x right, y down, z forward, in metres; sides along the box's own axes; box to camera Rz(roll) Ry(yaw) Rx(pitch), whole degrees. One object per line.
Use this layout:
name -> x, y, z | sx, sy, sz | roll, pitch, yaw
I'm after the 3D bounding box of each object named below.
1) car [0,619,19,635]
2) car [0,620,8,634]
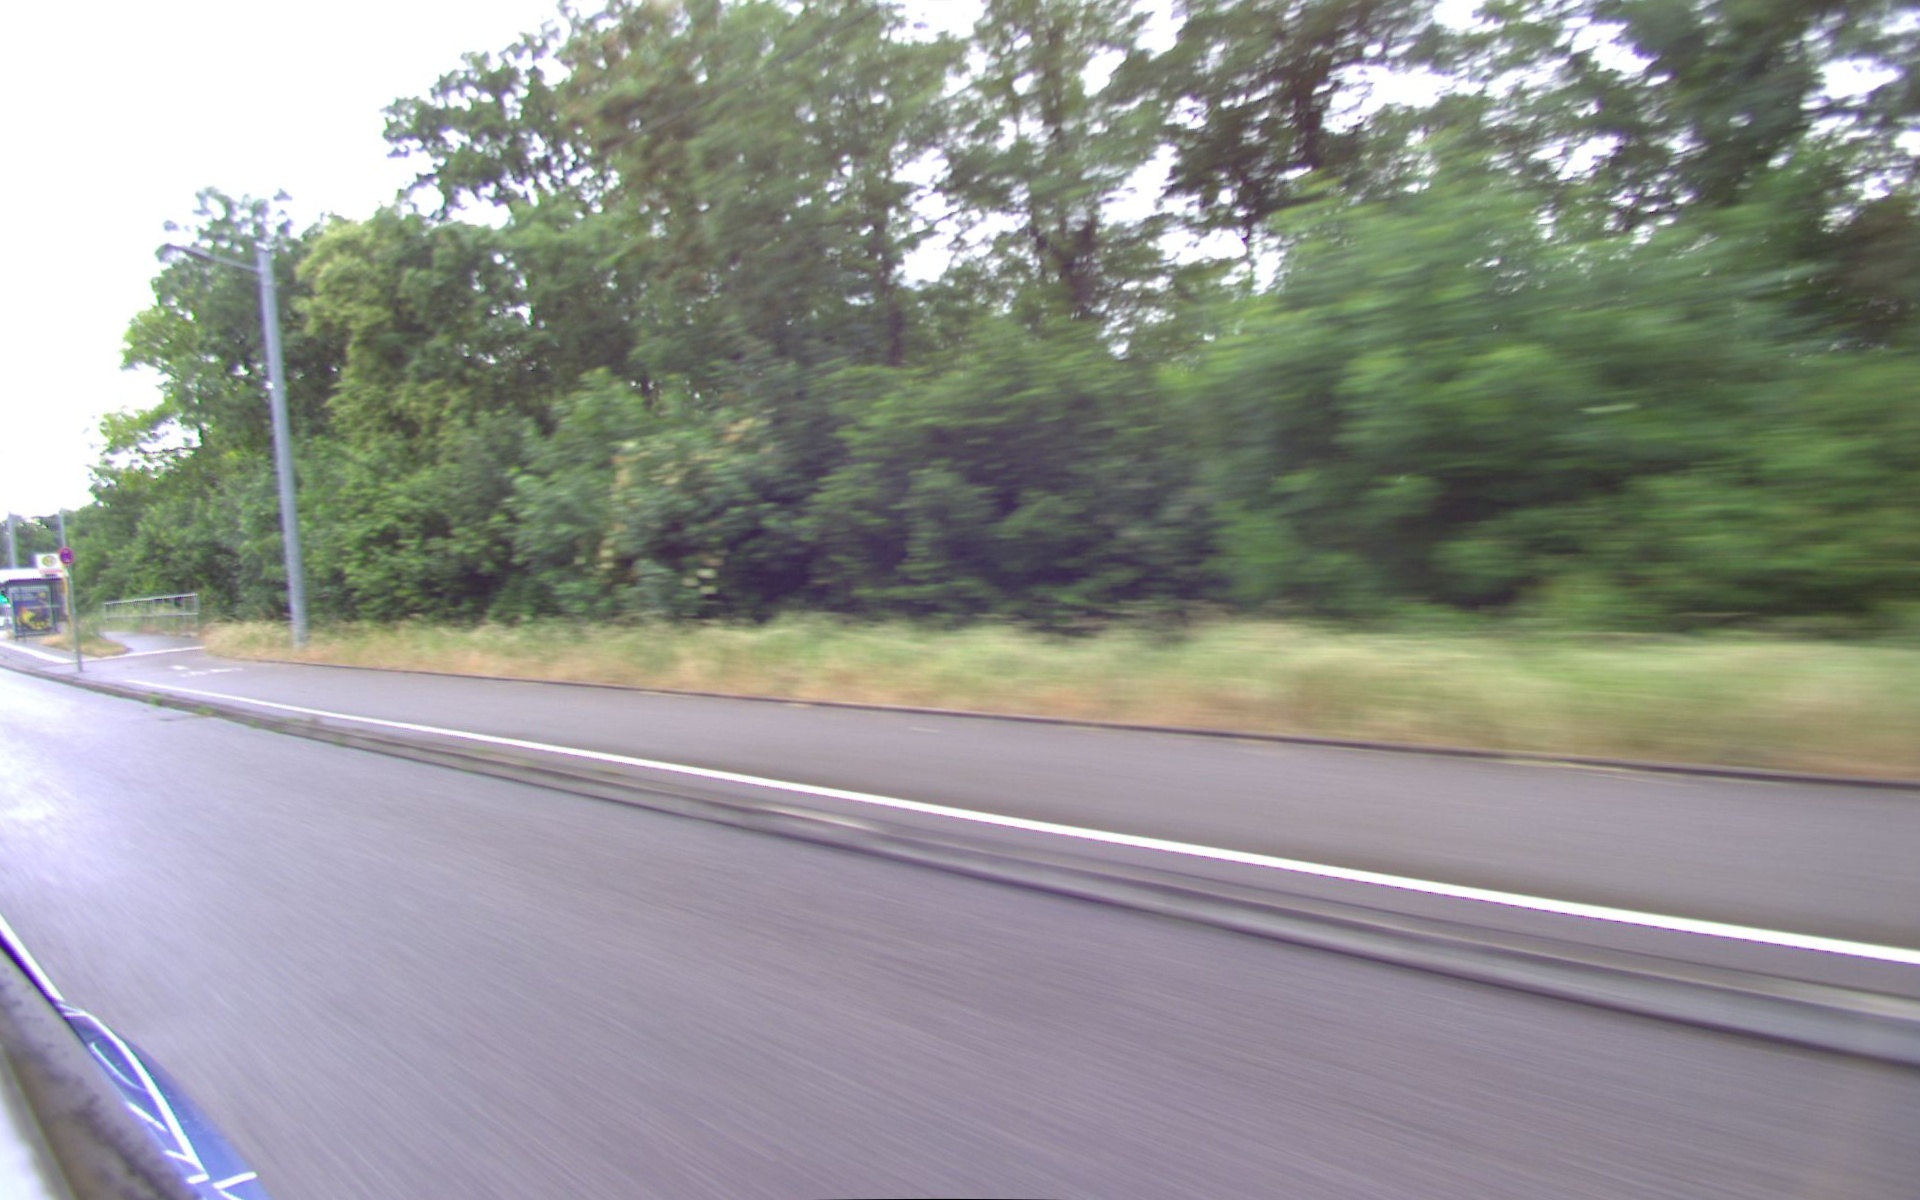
car -> -105.987, 3.004, 111.997 | 1.805, 1.558, 4.643 | -4, 3, -32
car -> -103.314, 2.987, 107.938 | 1.788, 1.408, 4.114 | -4, 3, -33
